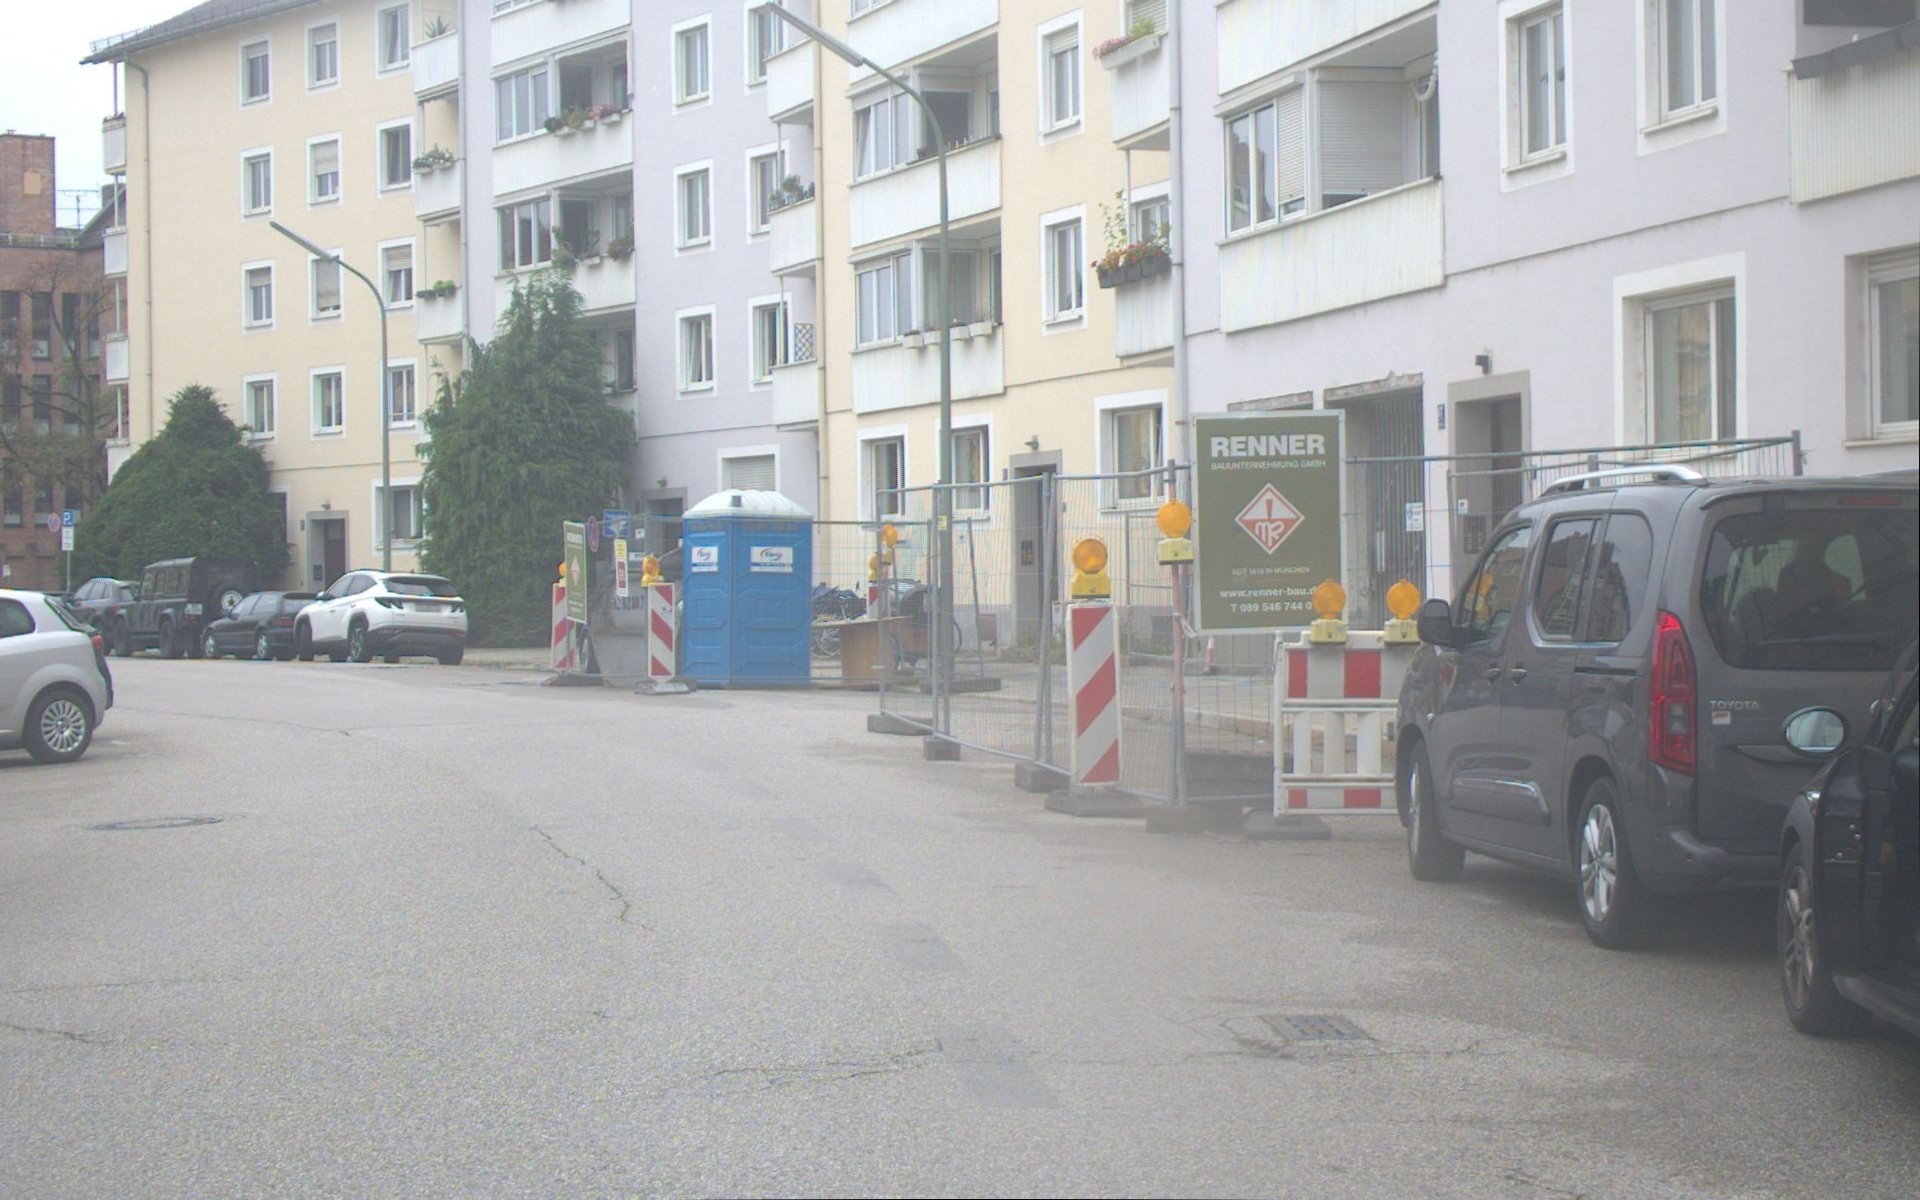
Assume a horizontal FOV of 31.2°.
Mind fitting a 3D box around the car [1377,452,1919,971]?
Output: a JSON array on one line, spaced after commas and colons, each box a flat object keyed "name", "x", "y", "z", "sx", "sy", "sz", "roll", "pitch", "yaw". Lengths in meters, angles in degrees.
[{"name": "car", "x": 3.118, "y": 0.386, "z": 14.145, "sx": 1.836, "sy": 1.793, "sz": 4.239, "roll": 1, "pitch": 0, "yaw": -6}]

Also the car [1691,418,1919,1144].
[{"name": "car", "x": 3.249, "y": 0.438, "z": 9.303, "sx": 1.836, "sy": 1.724, "sz": 3.730, "roll": 1, "pitch": 0, "yaw": 2}]

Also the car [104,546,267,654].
[{"name": "car", "x": -15.532, "y": -0.029, "z": 68.793, "sx": 1.747, "sy": 2.074, "sz": 4.516, "roll": 1, "pitch": 0, "yaw": -32}]

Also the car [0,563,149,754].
[{"name": "car", "x": -8.667, "y": 0.447, "z": 27.491, "sx": 1.674, "sy": 1.525, "sz": 3.973, "roll": 1, "pitch": 0, "yaw": 42}]

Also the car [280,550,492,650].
[{"name": "car", "x": -10.129, "y": -0.021, "z": 60.415, "sx": 2.026, "sy": 1.672, "sz": 4.613, "roll": 1, "pitch": 0, "yaw": -32}]

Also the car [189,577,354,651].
[{"name": "car", "x": -13.006, "y": 0.279, "z": 64.831, "sx": 1.658, "sy": 1.344, "sz": 3.803, "roll": 1, "pitch": -1, "yaw": -35}]
